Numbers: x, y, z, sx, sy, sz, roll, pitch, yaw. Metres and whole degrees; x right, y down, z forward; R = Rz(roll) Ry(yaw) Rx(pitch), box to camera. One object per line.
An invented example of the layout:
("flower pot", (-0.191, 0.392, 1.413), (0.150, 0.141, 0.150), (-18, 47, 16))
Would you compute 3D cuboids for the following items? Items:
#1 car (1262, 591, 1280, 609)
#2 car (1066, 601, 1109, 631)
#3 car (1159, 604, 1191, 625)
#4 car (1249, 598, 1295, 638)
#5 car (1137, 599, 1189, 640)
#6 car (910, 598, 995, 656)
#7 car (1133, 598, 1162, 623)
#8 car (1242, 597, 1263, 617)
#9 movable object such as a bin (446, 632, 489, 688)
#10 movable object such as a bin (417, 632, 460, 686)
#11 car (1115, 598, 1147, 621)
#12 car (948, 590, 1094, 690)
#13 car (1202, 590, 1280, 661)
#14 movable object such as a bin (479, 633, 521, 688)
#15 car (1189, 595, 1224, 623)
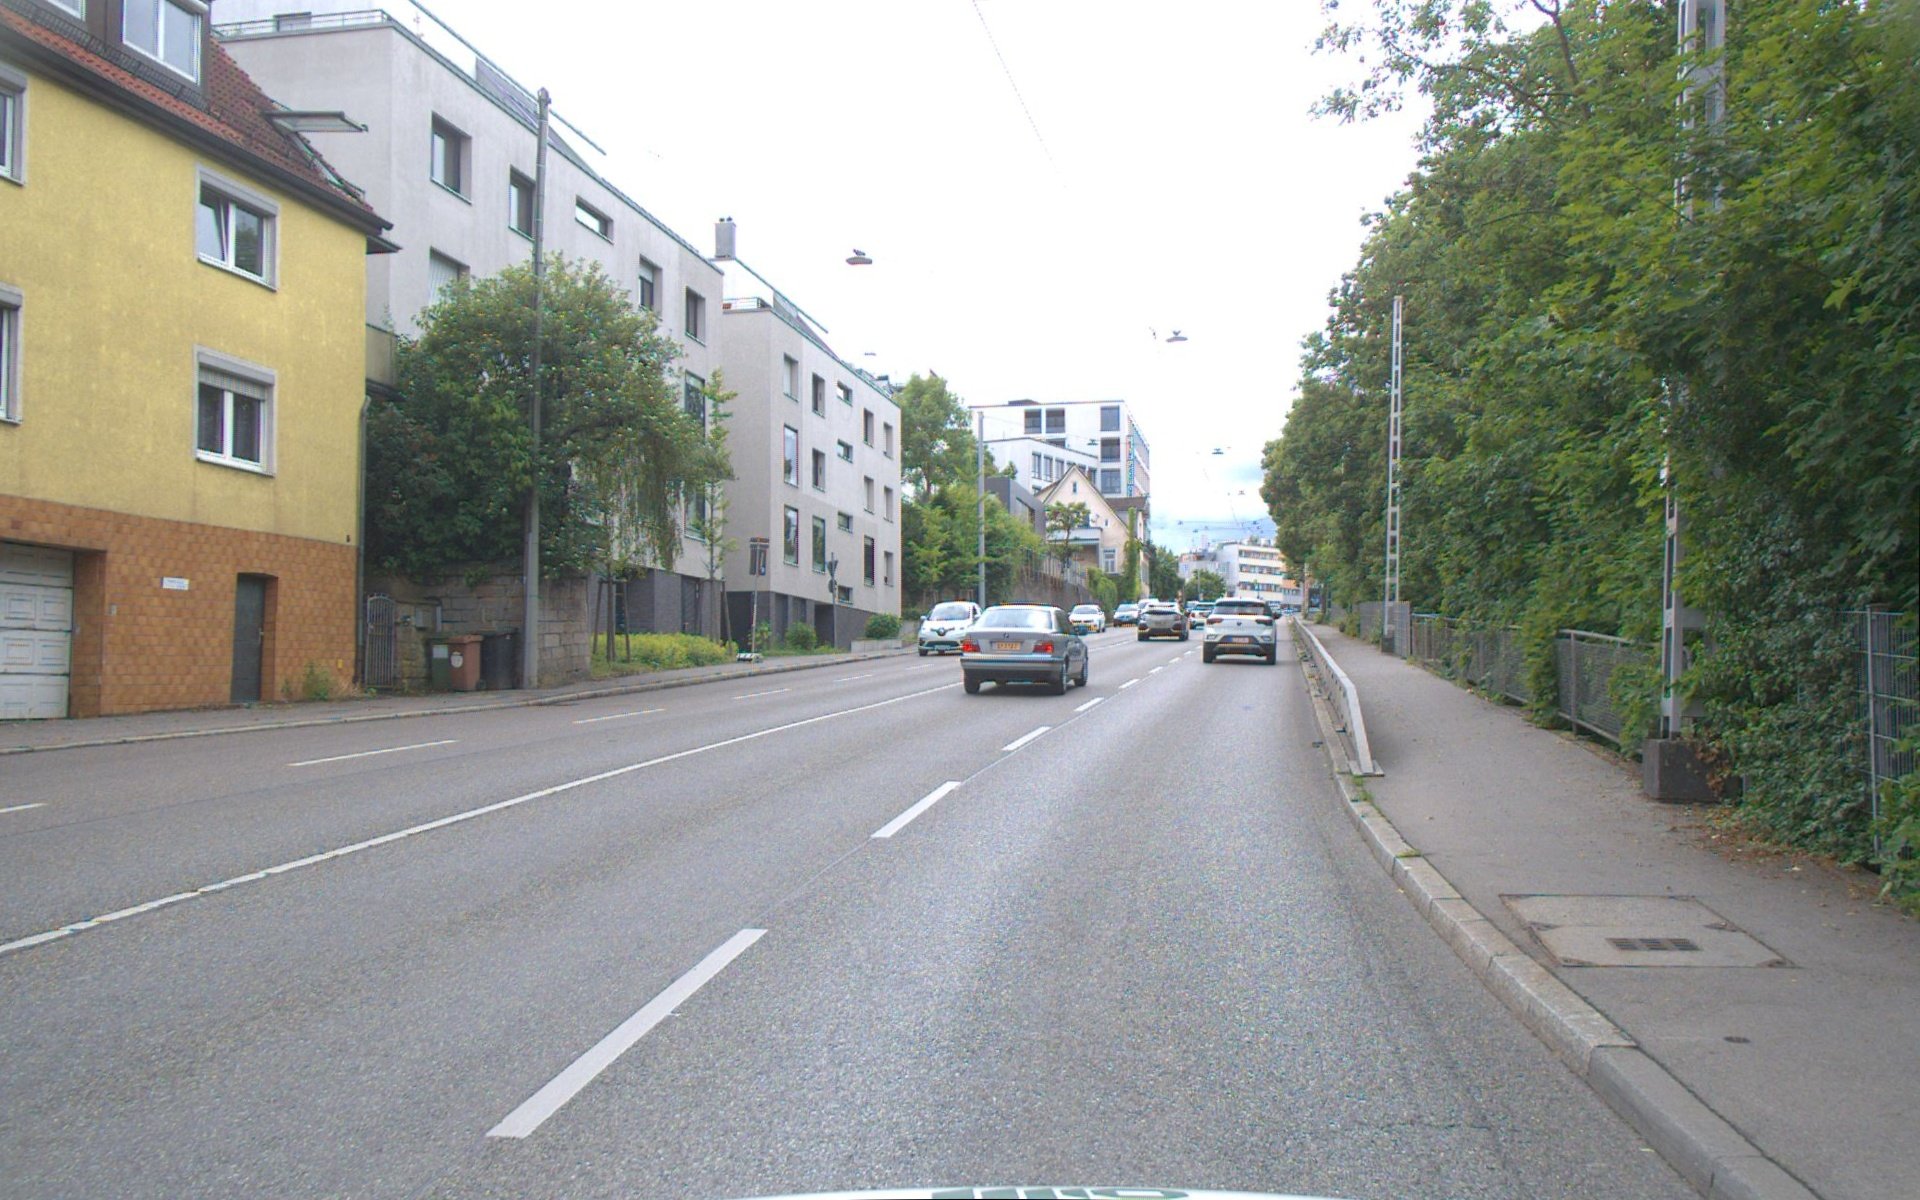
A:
("car", (37.037, 0.048, 196.964), (1.951, 2.049, 4.003), (2, -1, 12))
("car", (6.753, 0.833, 86.985), (1.735, 1.489, 4.195), (-2, 0, 11))
("car", (13.765, 0.900, 105.949), (1.716, 1.291, 4.195), (-2, 0, 11))
("car", (12.340, 0.726, 65.358), (1.670, 1.489, 4.003), (2, -1, 11))
("car", (7.733, 0.734, 62.773), (1.670, 1.489, 4.003), (-1, 0, 11))
("car", (-0.182, 0.803, 50.767), (1.707, 1.642, 4.060), (-3, 0, 12))
("car", (14.402, 0.815, 126.846), (1.696, 1.820, 4.871), (-2, 0, 11))
("car", (31.129, 0.750, 175.866), (1.951, 2.049, 4.003), (2, -1, 12))
("movable object such as a bin", (-8.341, 1.010, 28.028), (0.556, 0.901, 0.609), (2, -1, -5))
("movable object such as a bin", (-9.012, 1.018, 28.616), (0.556, 0.901, 0.609), (2, -1, -5))
("car", (11.514, 0.617, 110.999), (1.696, 1.489, 4.427), (-2, 0, 11))
("car", (1.073, 0.632, 26.980), (1.670, 1.490, 4.003), (1, -1, 12))
("car", (6.985, 0.615, 40.923), (1.742, 1.606, 4.003), (2, 0, 11))
("movable object such as a bin", (-7.854, 1.033, 28.248), (0.556, 0.901, 0.609), (2, -1, -5))
("car", (13.484, 0.496, 90.447), (1.670, 1.489, 4.003), (-1, 0, 11))
